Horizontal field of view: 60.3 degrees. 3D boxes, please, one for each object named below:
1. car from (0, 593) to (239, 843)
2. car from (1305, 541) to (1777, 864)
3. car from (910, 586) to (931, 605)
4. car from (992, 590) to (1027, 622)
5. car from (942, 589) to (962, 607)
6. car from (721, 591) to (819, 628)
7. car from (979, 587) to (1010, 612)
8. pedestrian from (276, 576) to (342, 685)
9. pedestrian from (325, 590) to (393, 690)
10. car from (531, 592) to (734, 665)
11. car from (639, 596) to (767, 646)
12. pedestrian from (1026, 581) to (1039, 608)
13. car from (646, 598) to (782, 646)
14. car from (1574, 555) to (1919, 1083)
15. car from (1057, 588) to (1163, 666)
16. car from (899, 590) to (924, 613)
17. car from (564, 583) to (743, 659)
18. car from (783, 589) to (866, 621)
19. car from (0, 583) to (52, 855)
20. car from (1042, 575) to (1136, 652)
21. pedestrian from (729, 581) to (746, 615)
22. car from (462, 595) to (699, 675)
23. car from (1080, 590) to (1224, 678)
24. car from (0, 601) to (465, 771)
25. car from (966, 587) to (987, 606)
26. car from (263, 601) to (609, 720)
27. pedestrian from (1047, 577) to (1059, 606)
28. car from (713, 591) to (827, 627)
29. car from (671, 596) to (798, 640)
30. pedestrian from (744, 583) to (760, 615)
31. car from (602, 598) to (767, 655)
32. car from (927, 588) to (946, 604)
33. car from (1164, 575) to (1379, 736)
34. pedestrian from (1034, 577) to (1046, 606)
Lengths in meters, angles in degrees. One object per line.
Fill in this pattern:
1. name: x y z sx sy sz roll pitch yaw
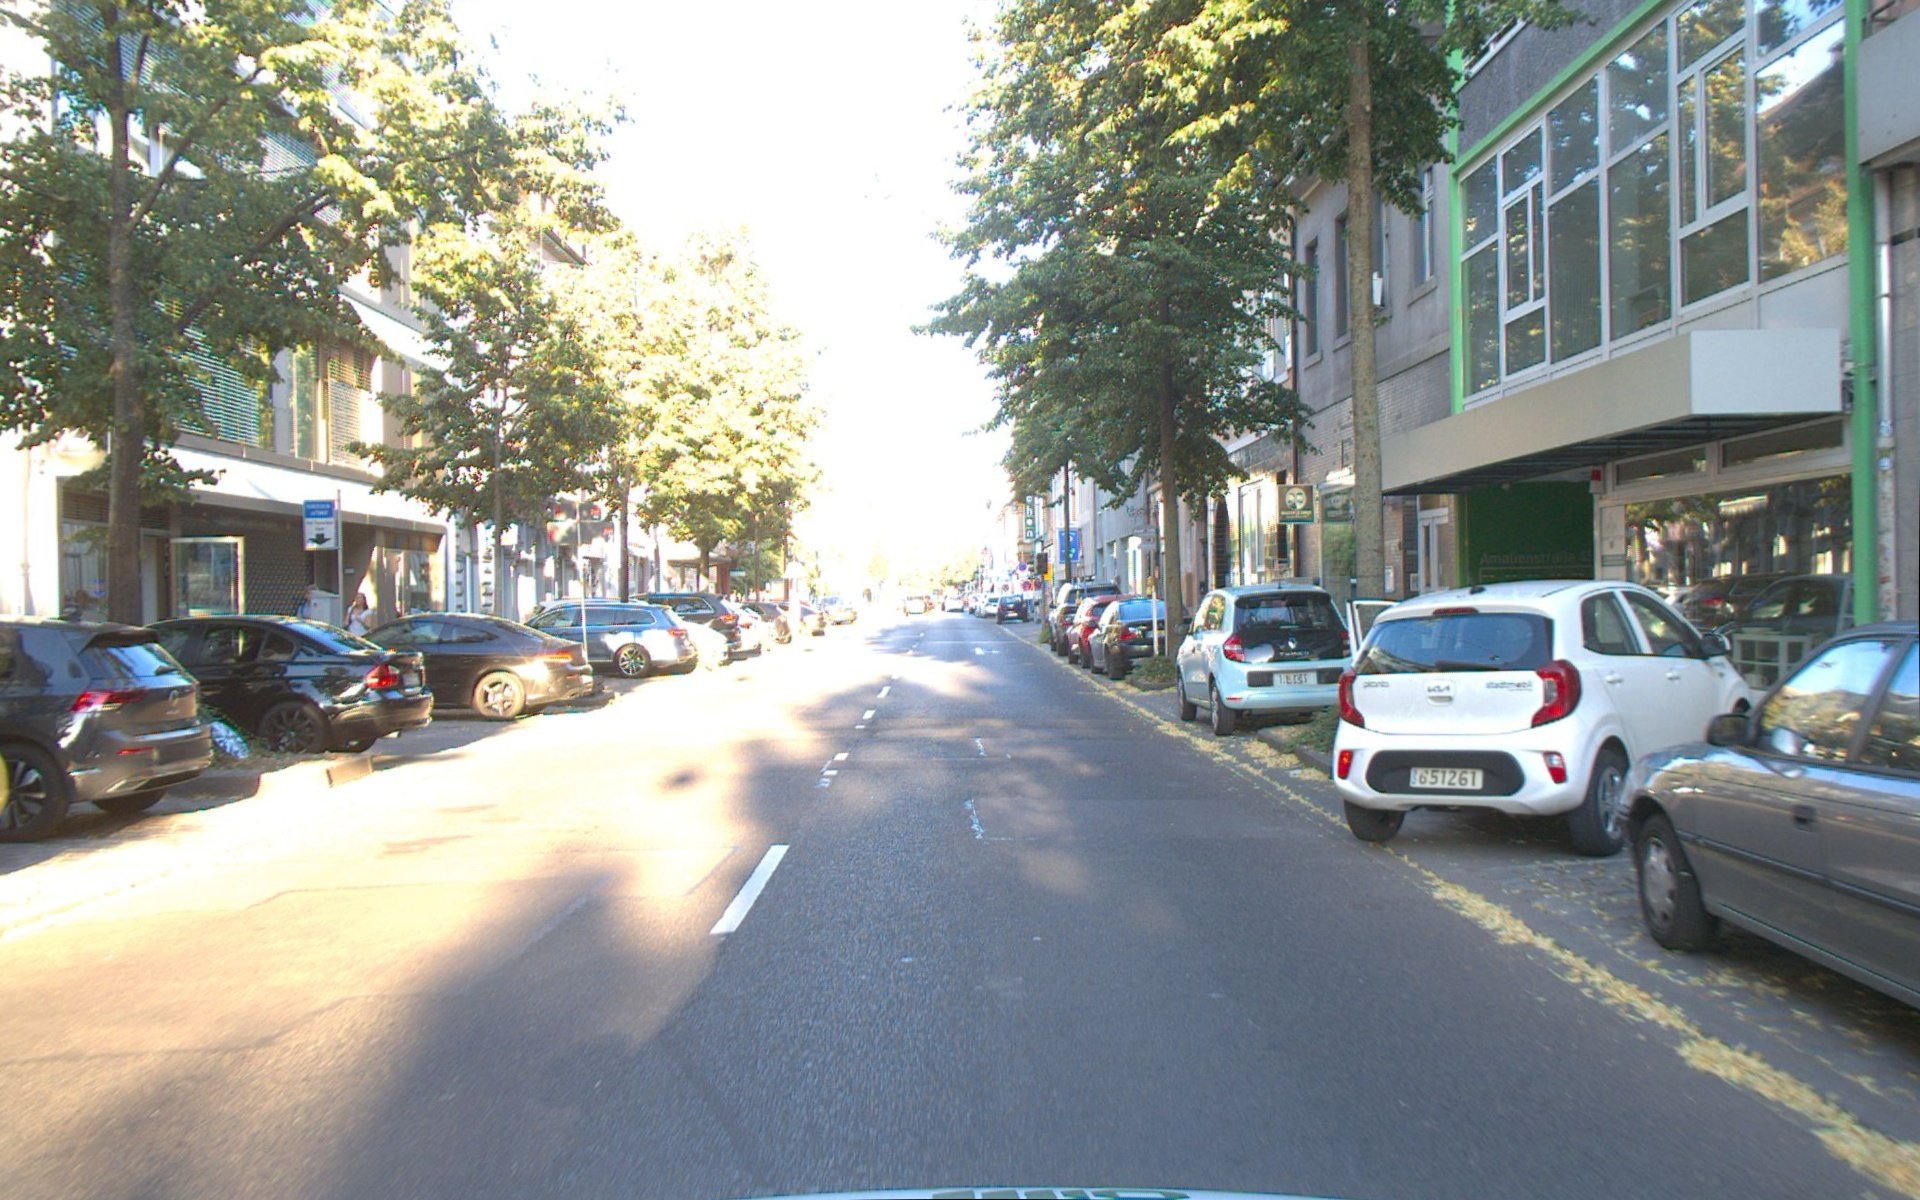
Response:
1. car: -7.285 0.773 11.467 3.789 1.595 1.743 -1 0 -3
2. car: 3.857 0.528 10.635 1.635 1.611 3.605 -3 1 40
3. car: -3.597 -0.423 150.827 1.858 1.678 4.103 -1 0 -1
4. car: 2.704 0.301 90.394 1.723 1.563 4.000 -4 0 0
5. car: -0.789 -0.185 157.224 1.858 1.609 3.999 0 0 -1
6. car: -8.095 0.405 70.841 3.989 1.563 1.884 0 0 -1
7. car: 2.257 0.001 109.130 1.724 1.563 4.819 1 0 -3
8. pedestrian: -10.910 0.497 27.752 0.704 1.780 0.933 1 0 0
9. pedestrian: -10.076 0.660 27.744 0.704 1.630 1.094 1 0 0
10. car: -7.463 0.631 38.029 4.317 1.624 1.889 0 1 -2
11. car: -7.737 0.623 50.119 3.664 1.469 1.805 0 0 -3
12. pedestrian: 4.885 -0.382 111.093 0.757 1.741 1.042 -3 0 -1
13. car: -7.832 0.692 52.887 4.013 1.428 1.843 -1 0 1
14. car: 3.745 0.623 5.666 1.788 1.498 3.991 -5 0 1
15. car: 3.216 0.553 36.154 1.695 1.513 3.898 -3 1 -3
16. car: -3.741 0.093 127.010 1.858 1.678 4.103 -1 0 -1
17. car: -7.427 0.502 40.405 4.066 1.804 1.889 0 0 -3
18. car: -7.755 0.293 94.668 4.359 1.721 1.866 -1 2 27
19. car: -7.514 0.720 9.314 3.789 1.595 1.743 -1 0 -3
20. car: 3.283 0.303 42.976 1.997 1.767 4.711 -3 1 0
21. pedestrian: -11.131 -0.097 82.711 0.756 1.636 0.875 0 -1 0
22. car: -7.628 0.686 33.593 4.458 1.510 1.743 -1 0 -5
23. car: 3.524 0.584 31.179 1.913 1.414 4.422 -3 1 -3
24. car: -7.222 0.796 16.241 4.189 1.510 1.743 -1 0 -3
25. car: 1.380 -0.301 143.069 1.694 1.679 4.283 0 0 -1
26. car: -7.135 0.802 22.799 4.187 1.510 1.744 -1 0 -1
27. pedestrian: 5.200 -0.474 92.464 0.592 1.627 0.773 -1 0 -2
28. car: -7.711 0.369 67.499 4.478 1.432 1.821 0 0 -2
29. car: -7.456 0.579 55.013 4.024 1.428 1.883 0 0 -3
30. pedestrian: -10.429 -0.049 82.921 0.719 1.555 0.875 0 -1 0
31. car: -7.161 0.679 43.257 4.066 1.446 1.766 0 0 -3
32. car: -2.444 -0.420 170.797 1.858 1.608 3.851 2 0 -1
33. car: 3.423 0.555 18.792 1.657 1.569 3.552 -3 1 -1
34. pedestrian: 4.484 -0.492 92.449 0.592 1.627 0.773 -1 0 -2
